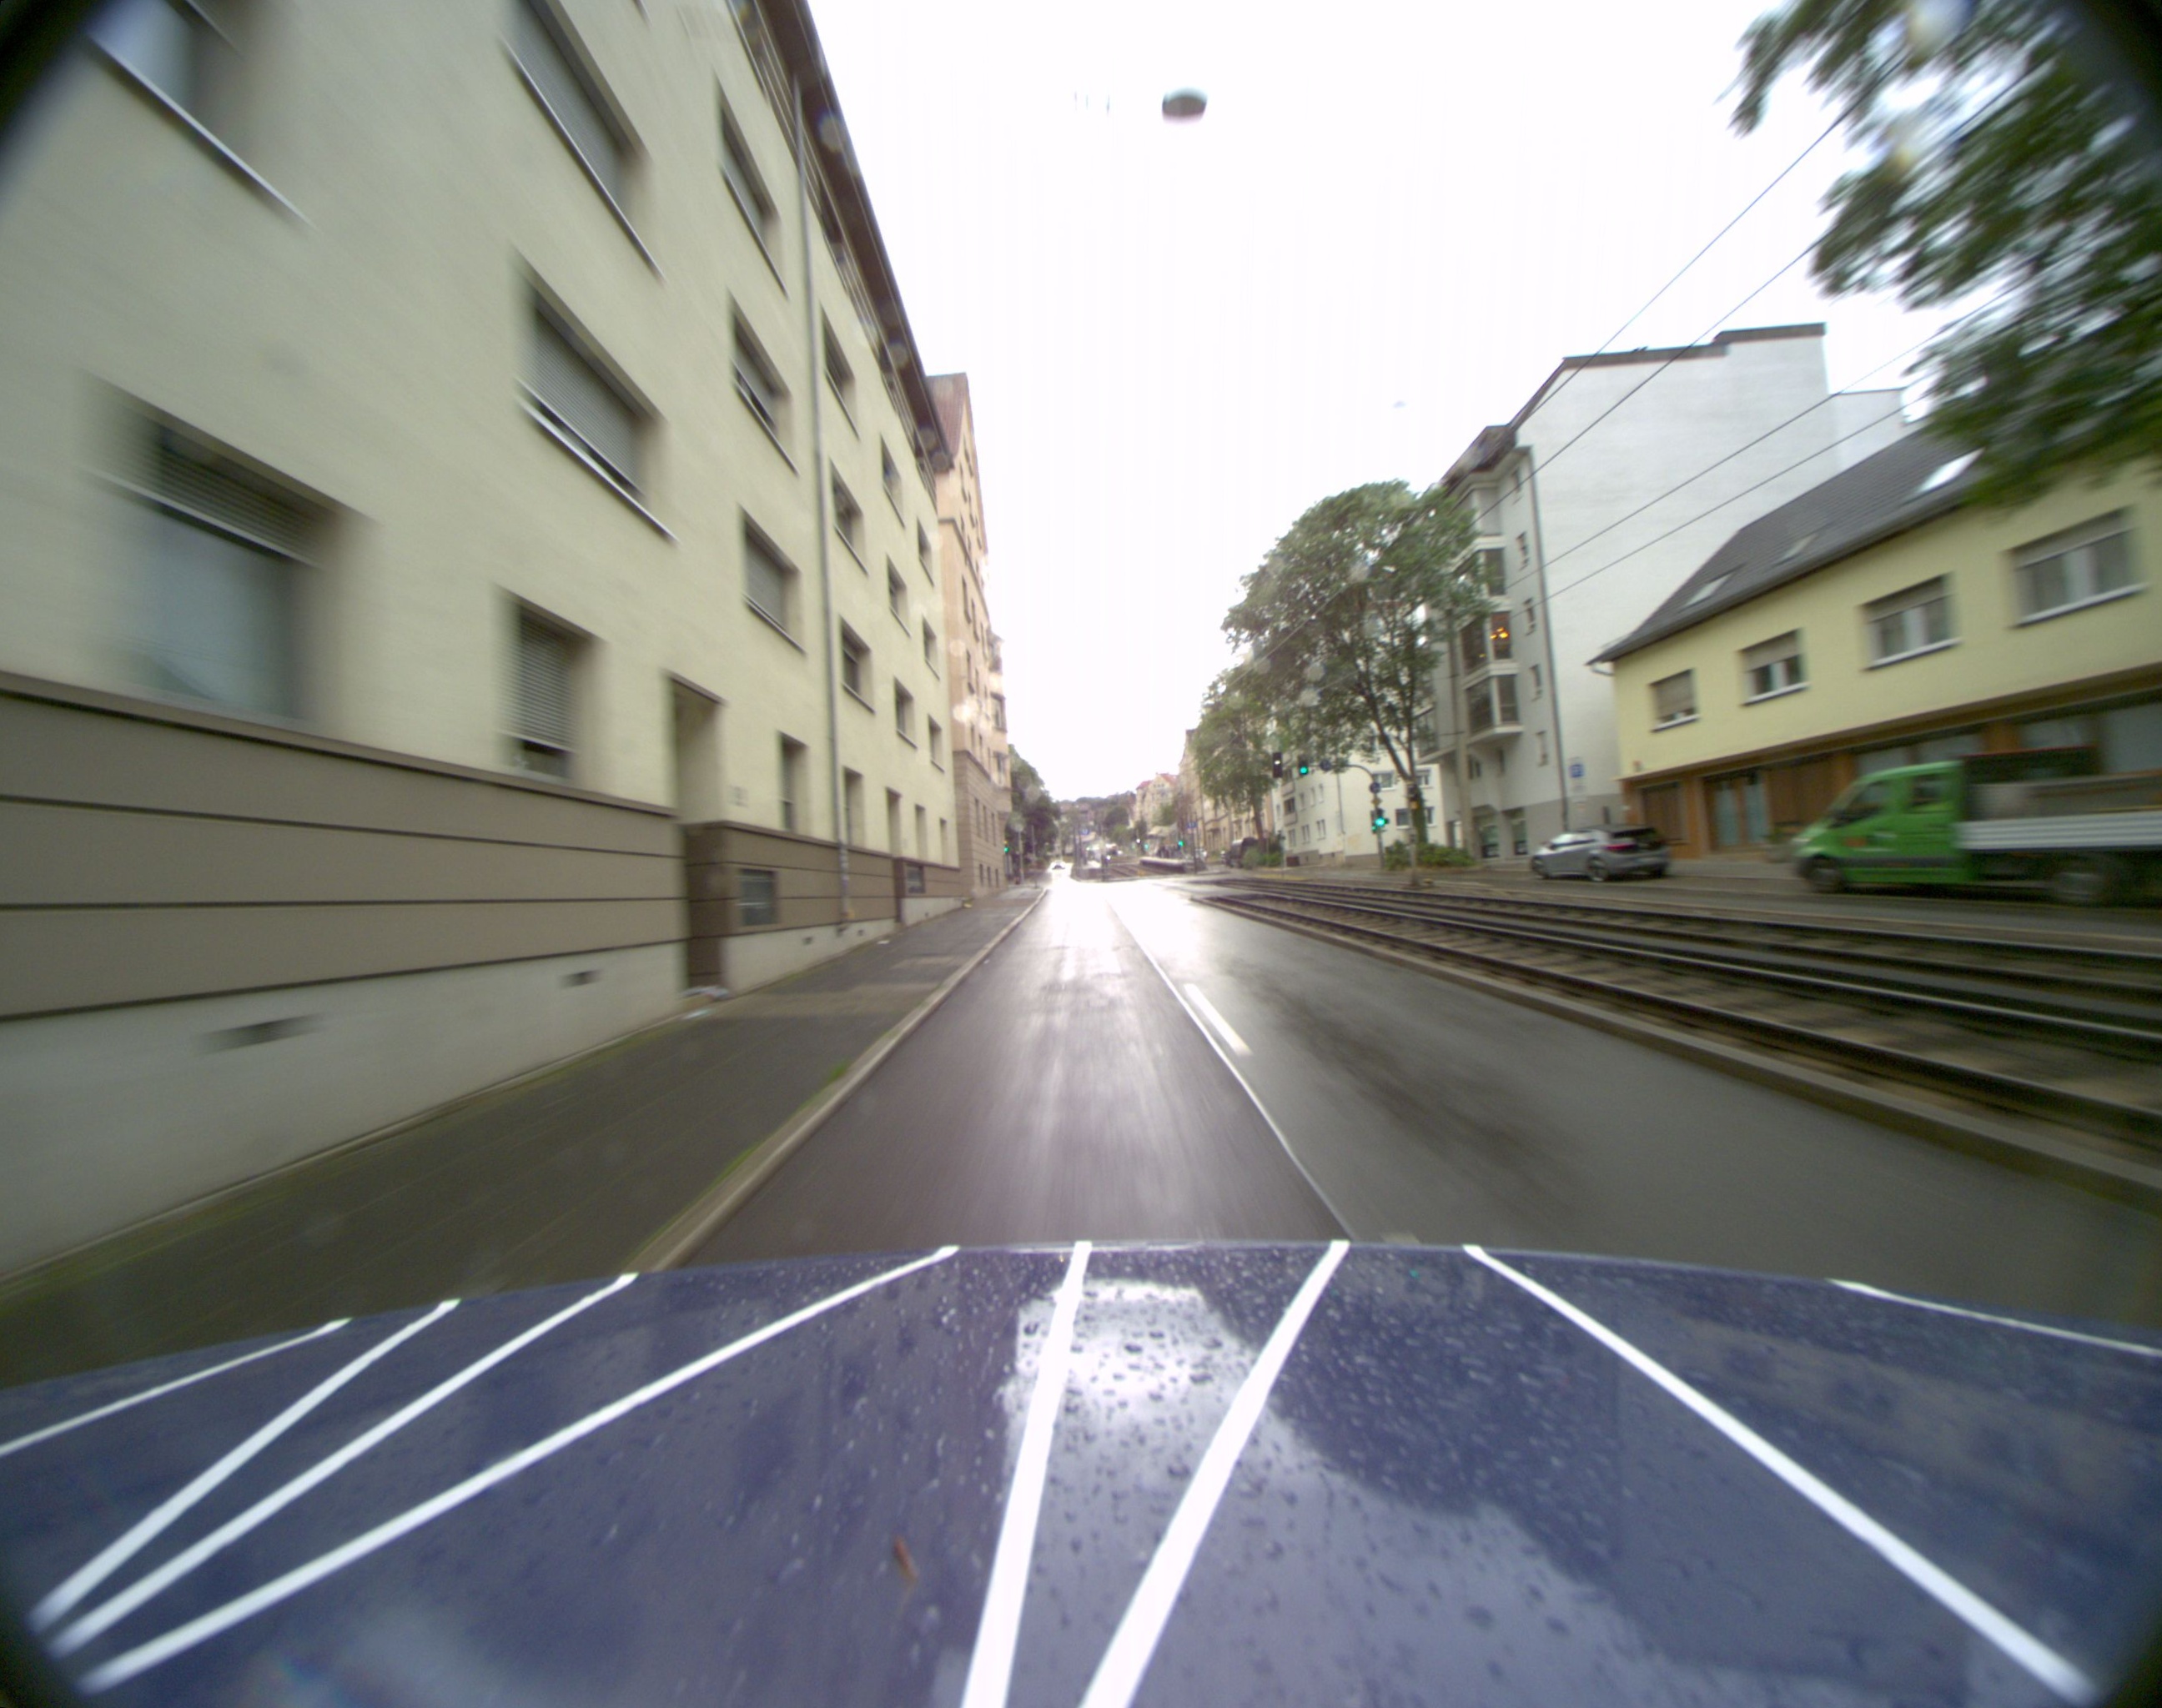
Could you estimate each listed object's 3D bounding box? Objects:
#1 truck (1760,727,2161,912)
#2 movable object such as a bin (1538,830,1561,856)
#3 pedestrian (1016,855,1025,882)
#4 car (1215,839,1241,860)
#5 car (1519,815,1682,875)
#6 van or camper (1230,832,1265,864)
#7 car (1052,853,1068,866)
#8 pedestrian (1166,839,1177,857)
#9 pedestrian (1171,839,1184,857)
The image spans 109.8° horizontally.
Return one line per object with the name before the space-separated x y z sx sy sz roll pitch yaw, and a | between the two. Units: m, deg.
truck | 14.804 -0.564 12.230 2.197 2.332 6.351 -3 1 2
movable object such as a bin | 18.350 -0.430 29.796 0.440 1.009 0.645 -4 1 -1
pedestrian | -4.294 1.016 53.839 0.547 1.904 0.604 -3 0 -2
car | 15.457 -0.503 79.992 1.998 2.002 4.000 -4 0 2
car | 15.050 -0.248 22.352 1.709 1.451 4.360 -5 0 0
van or camper | 15.368 -0.514 70.393 1.998 2.781 5.213 -3 0 1
car | -2.965 0.743 107.698 1.999 1.652 4.000 -4 0 -1
pedestrian | 9.580 -0.629 80.289 0.903 1.841 0.860 -4 1 1
pedestrian | 9.577 -0.580 75.298 1.120 1.772 0.965 -4 1 0
